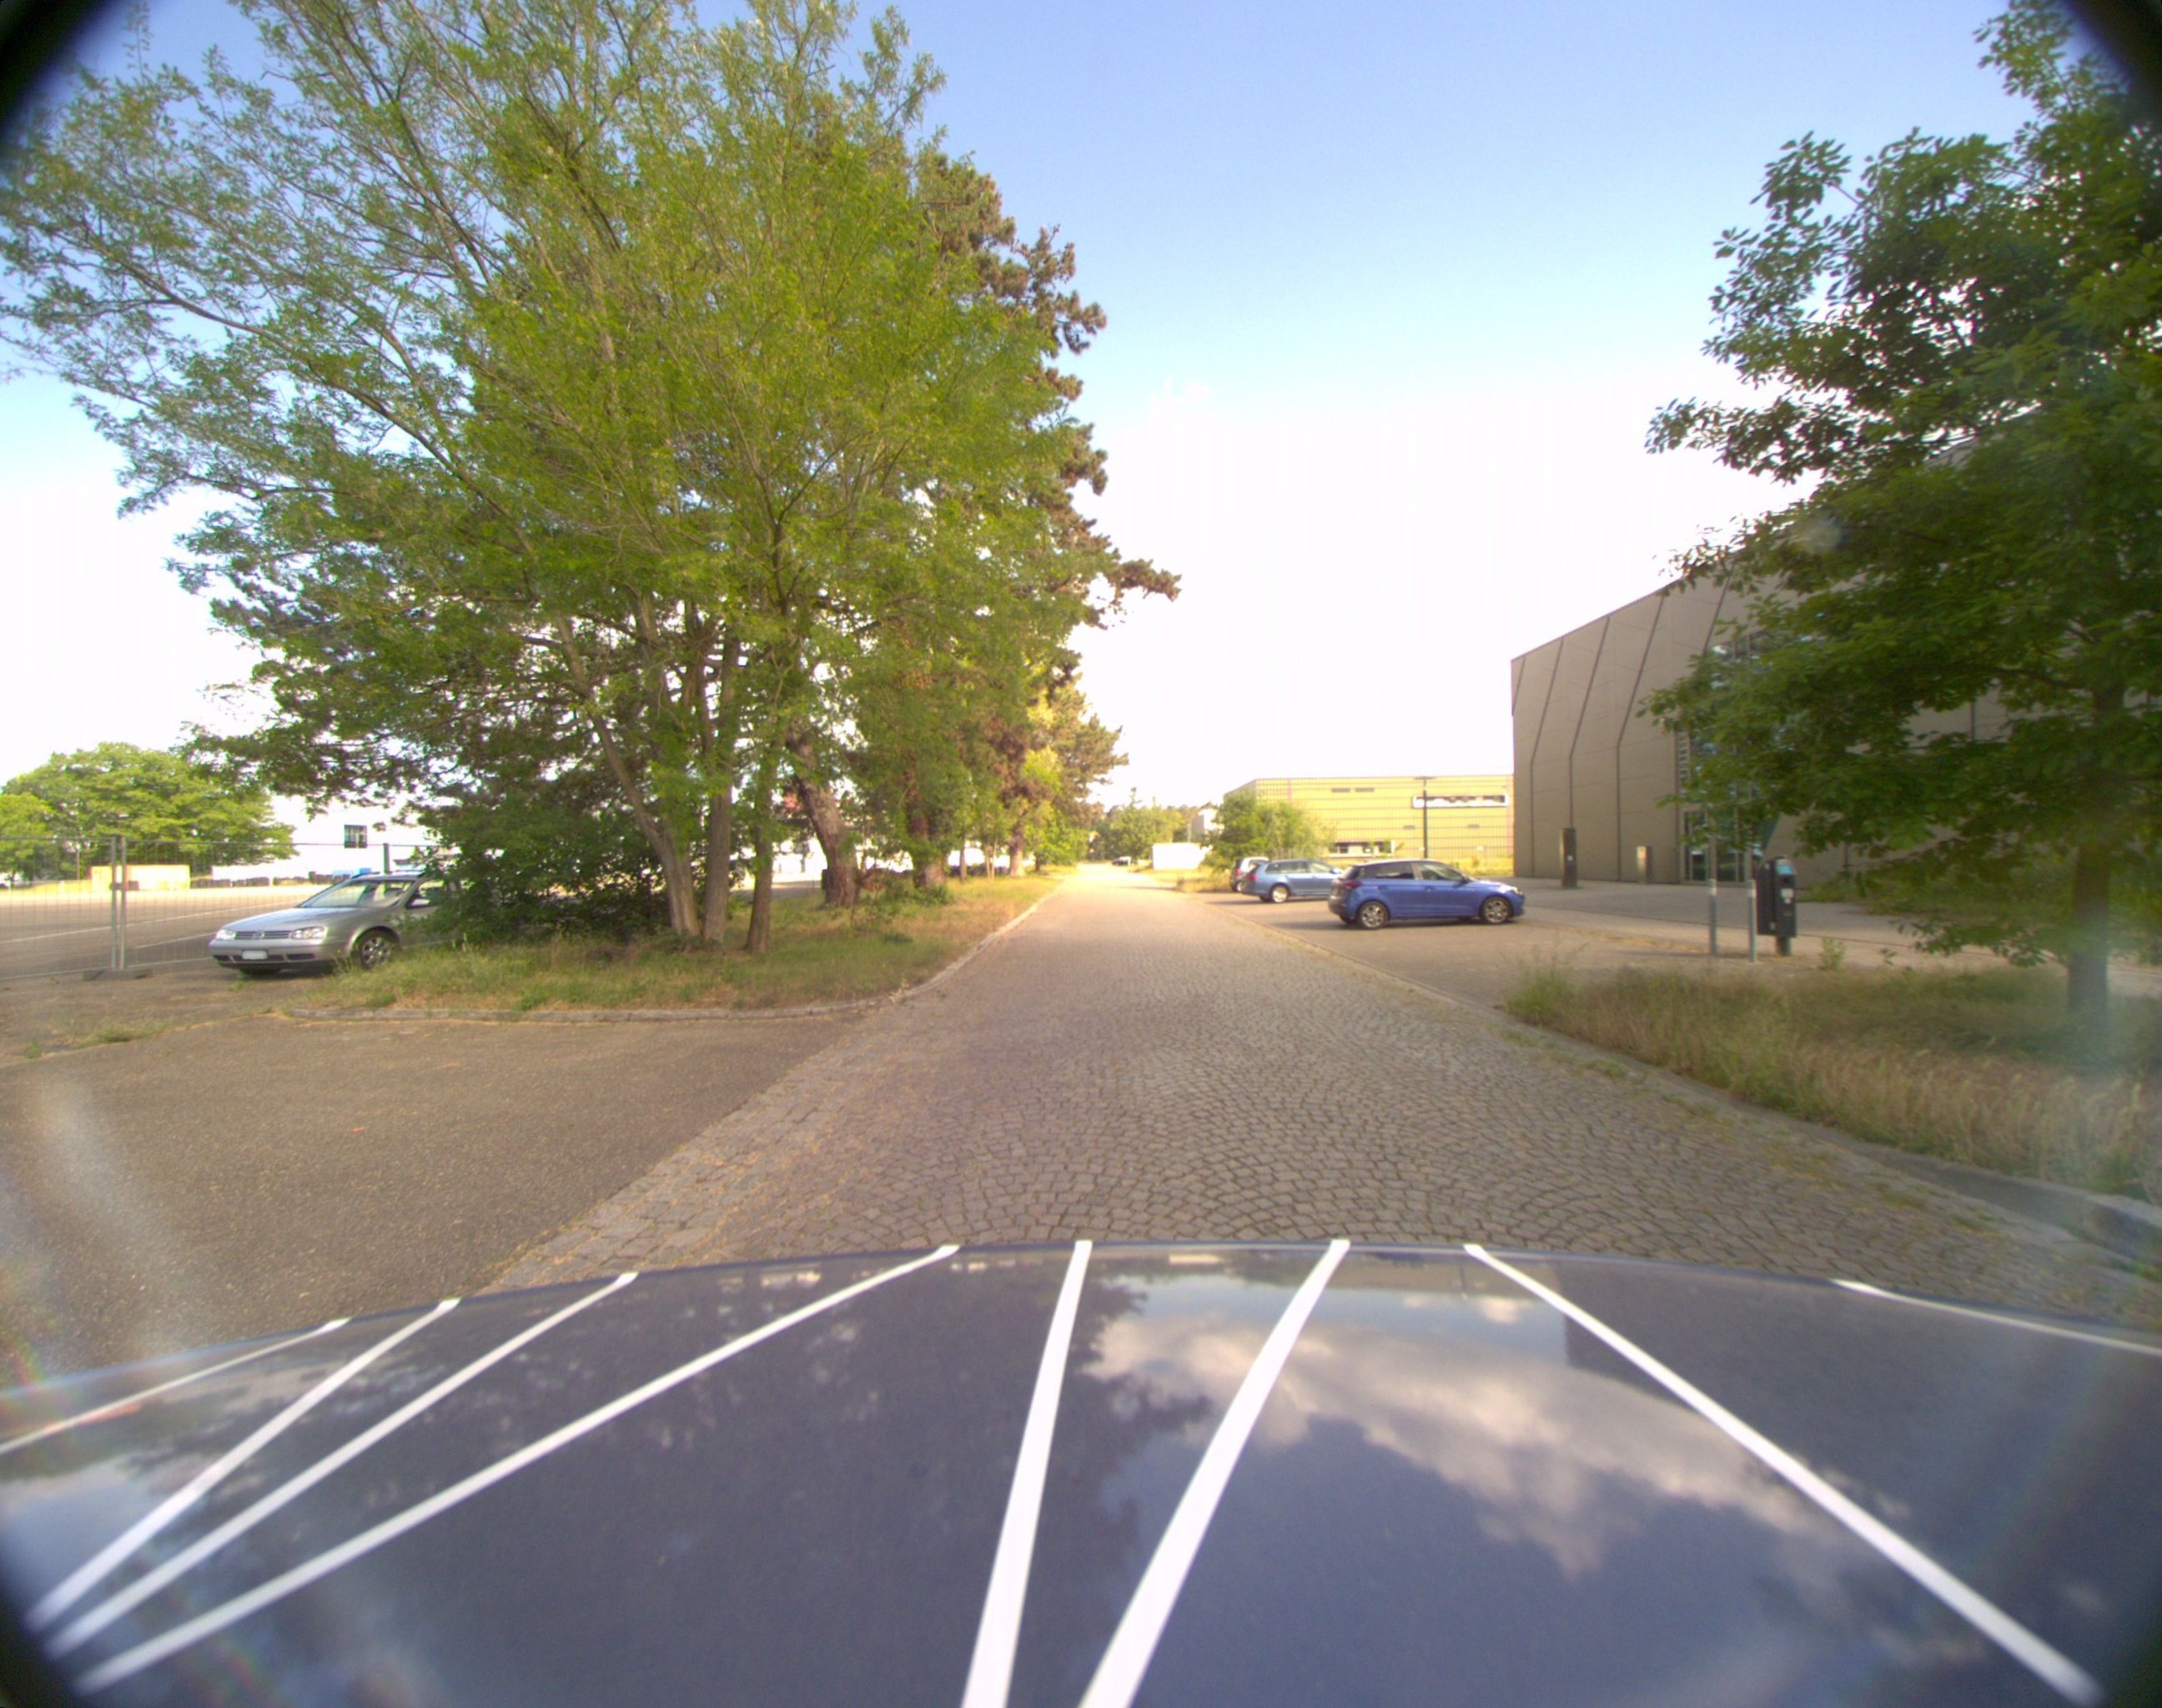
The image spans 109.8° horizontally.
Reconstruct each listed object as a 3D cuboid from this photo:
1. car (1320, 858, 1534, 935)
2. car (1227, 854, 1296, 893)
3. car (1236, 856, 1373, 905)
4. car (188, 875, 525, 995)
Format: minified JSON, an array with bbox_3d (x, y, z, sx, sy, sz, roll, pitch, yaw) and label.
[{"bbox_3d":[7.550,0.903,16.871,3.917,1.459,1.735,-2,0,4],"label":"car"},{"bbox_3d":[7.974,0.853,33.713,2.652,1.559,1.482,-2,0,0],"label":"car"},{"bbox_3d":[7.663,0.897,26.328,4.179,1.465,1.734,-2,0,-1],"label":"car"},{"bbox_3d":[-11.055,1.128,12.062,1.578,1.435,3.986,-1,0,-2],"label":"car"}]
